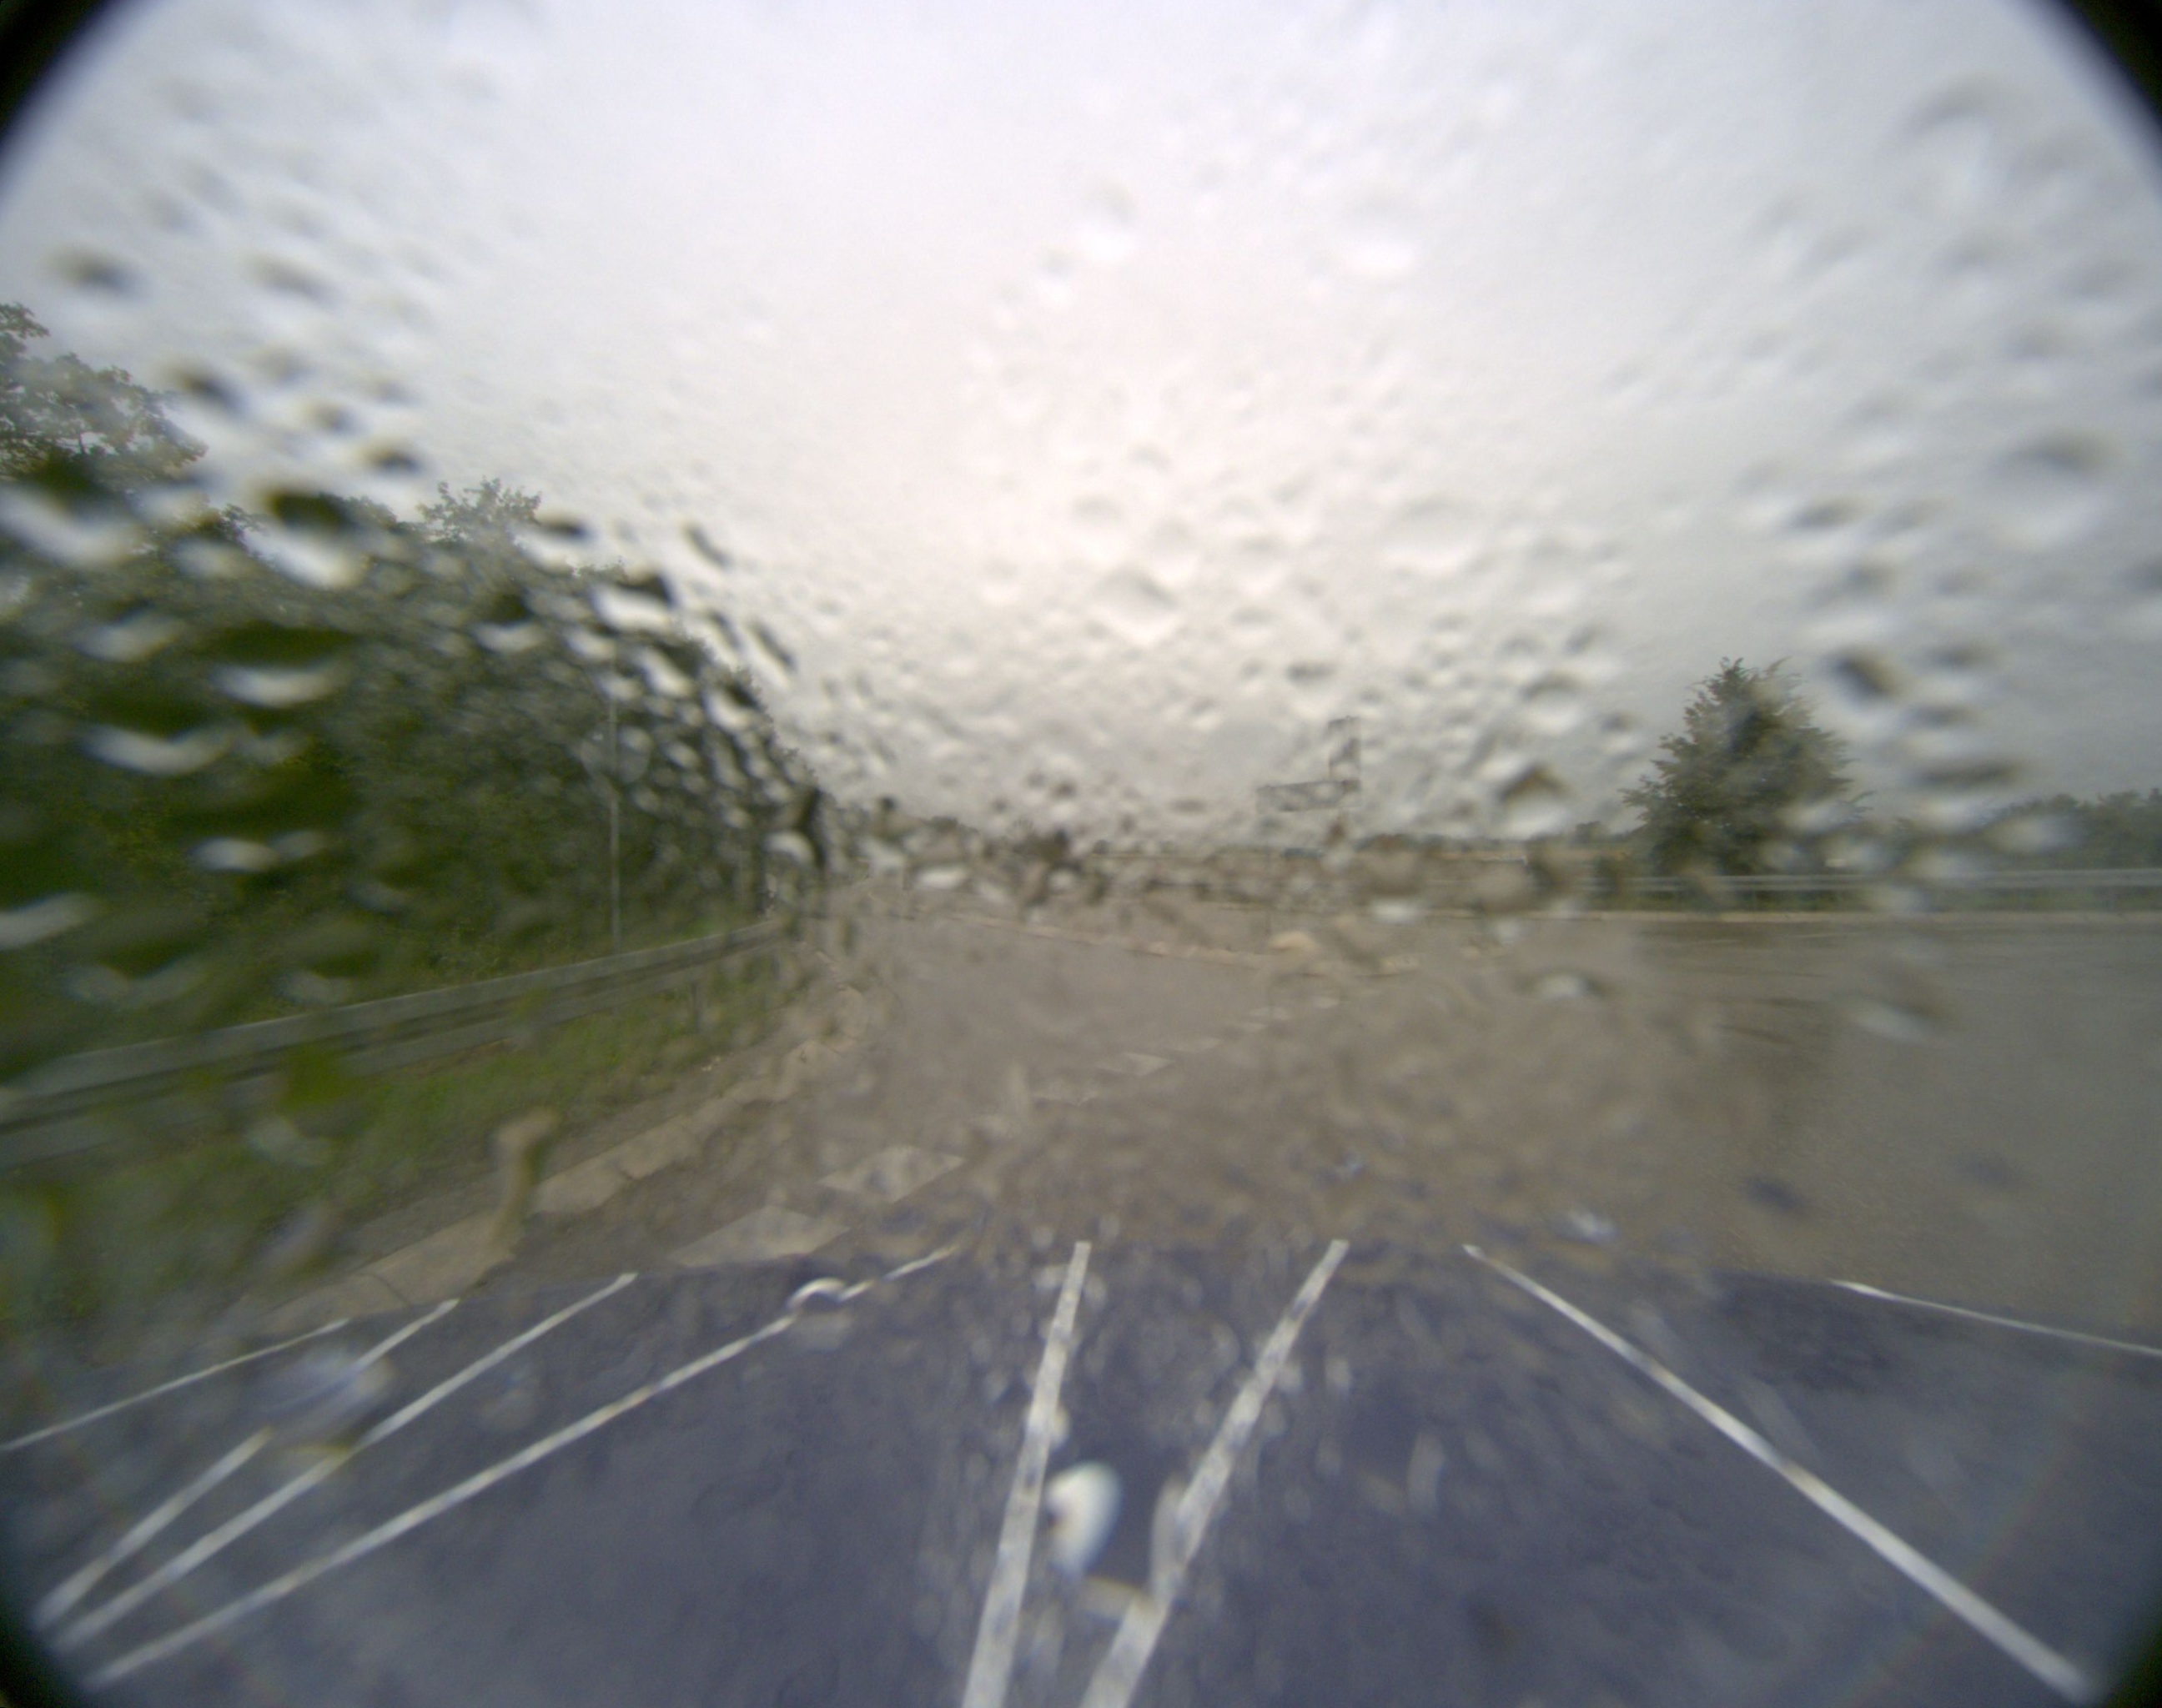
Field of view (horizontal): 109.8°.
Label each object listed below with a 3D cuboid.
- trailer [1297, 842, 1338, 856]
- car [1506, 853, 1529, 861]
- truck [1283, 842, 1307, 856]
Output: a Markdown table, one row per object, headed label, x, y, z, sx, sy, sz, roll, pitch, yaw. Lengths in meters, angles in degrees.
| label | x | y | z | sx | sy | sz | roll | pitch | yaw |
| --- | --- | --- | --- | --- | --- | --- | --- | --- | --- |
| trailer | 70.704 | -1.517 | 227.492 | 11.443 | 3.868 | 2.955 | 1 | 5 | 38 |
| car | 113.808 | 0.744 | 198.138 | 4.798 | 2.003 | 2.003 | 2 | 5 | 40 |
| truck | 65.276 | -1.616 | 231.783 | 6.257 | 3.894 | 2.955 | 1 | 5 | 38 |
